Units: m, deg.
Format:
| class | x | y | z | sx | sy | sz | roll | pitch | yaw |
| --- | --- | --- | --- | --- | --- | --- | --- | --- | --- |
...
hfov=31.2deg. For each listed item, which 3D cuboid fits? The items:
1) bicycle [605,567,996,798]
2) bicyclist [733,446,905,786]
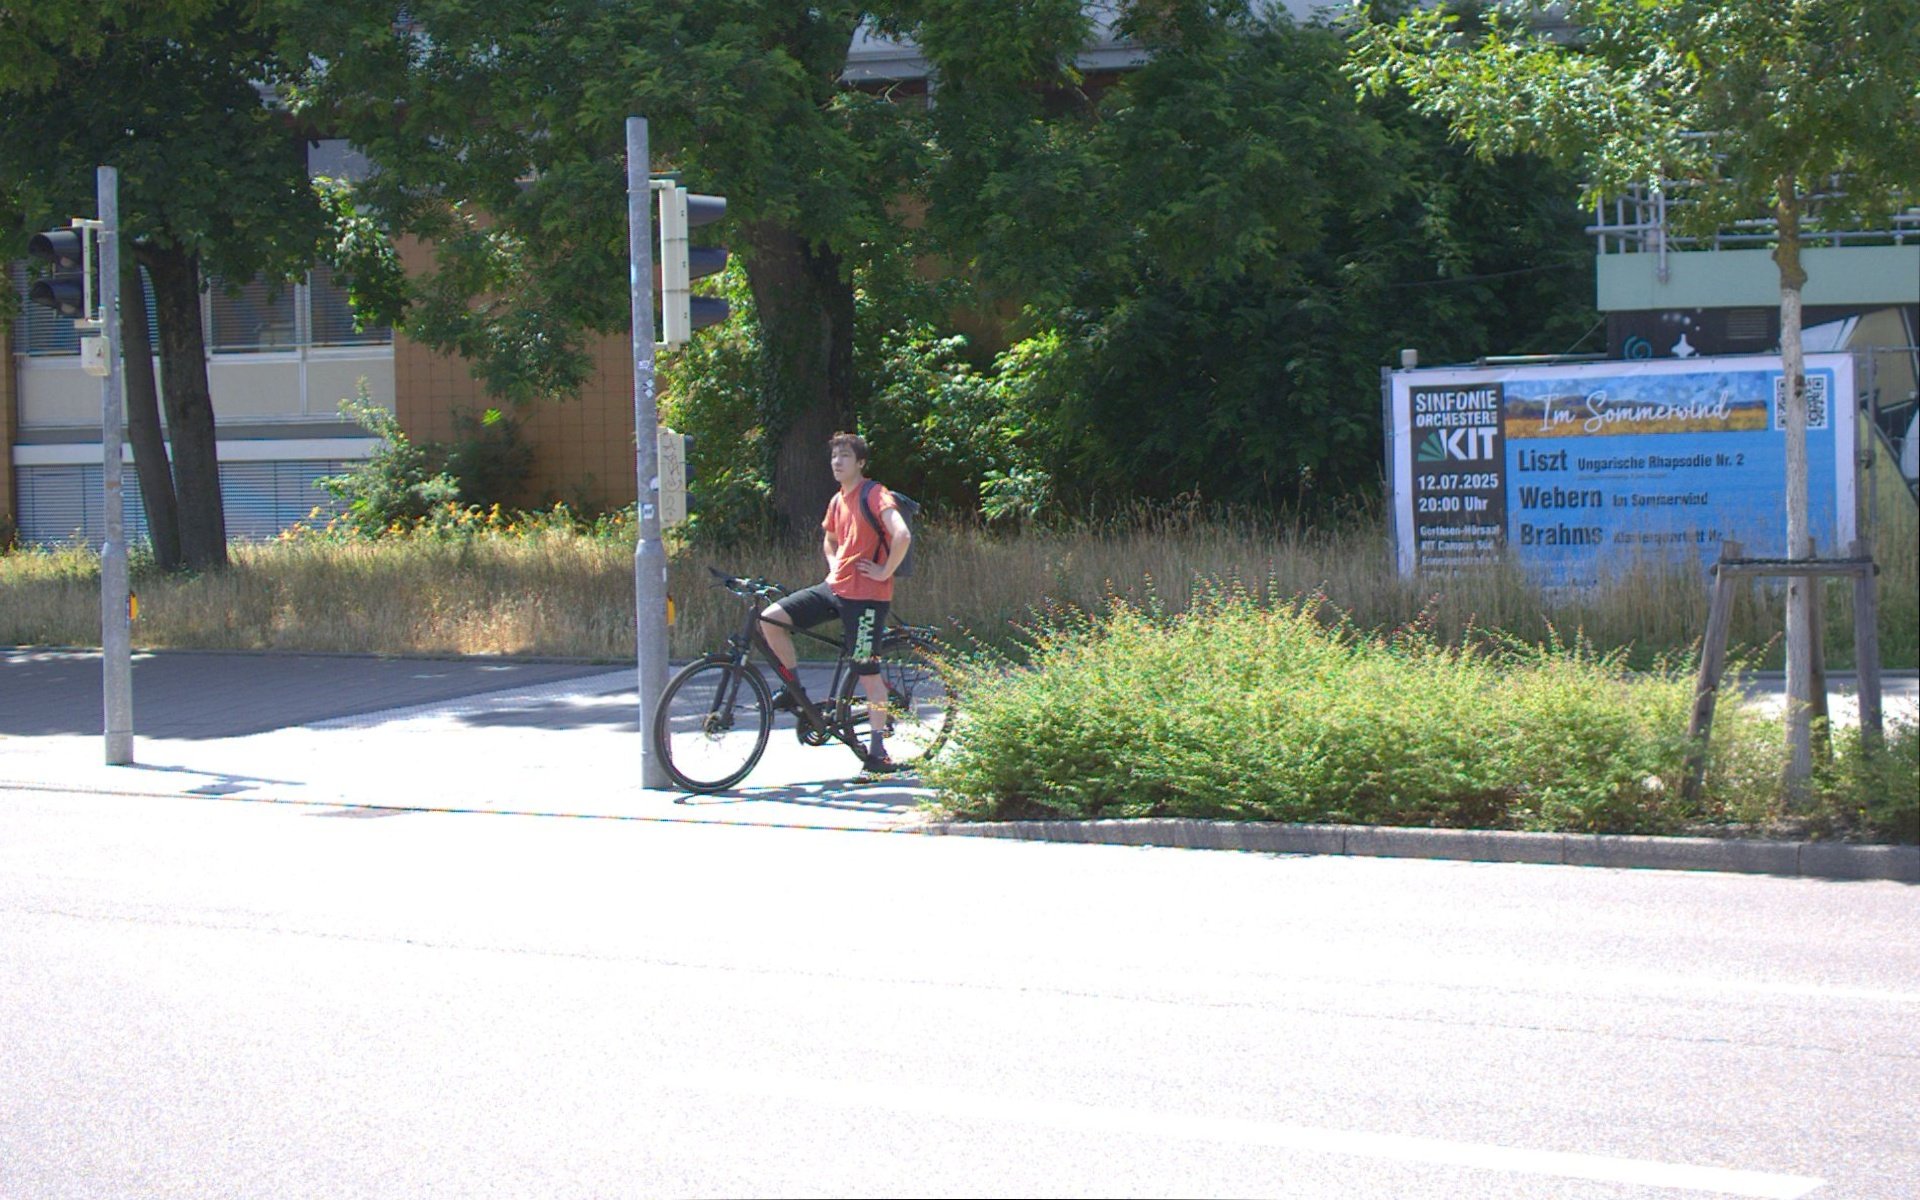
| class | x | y | z | sx | sy | sz | roll | pitch | yaw |
| --- | --- | --- | --- | --- | --- | --- | --- | --- | --- |
| bicycle | -0.815 | 0.405 | 17.936 | 1.990 | 1.041 | 0.559 | -3 | 5 | -30 |
| bicyclist | -0.737 | 0.066 | 17.965 | 0.701 | 1.709 | 0.551 | -3 | 5 | -31 |
